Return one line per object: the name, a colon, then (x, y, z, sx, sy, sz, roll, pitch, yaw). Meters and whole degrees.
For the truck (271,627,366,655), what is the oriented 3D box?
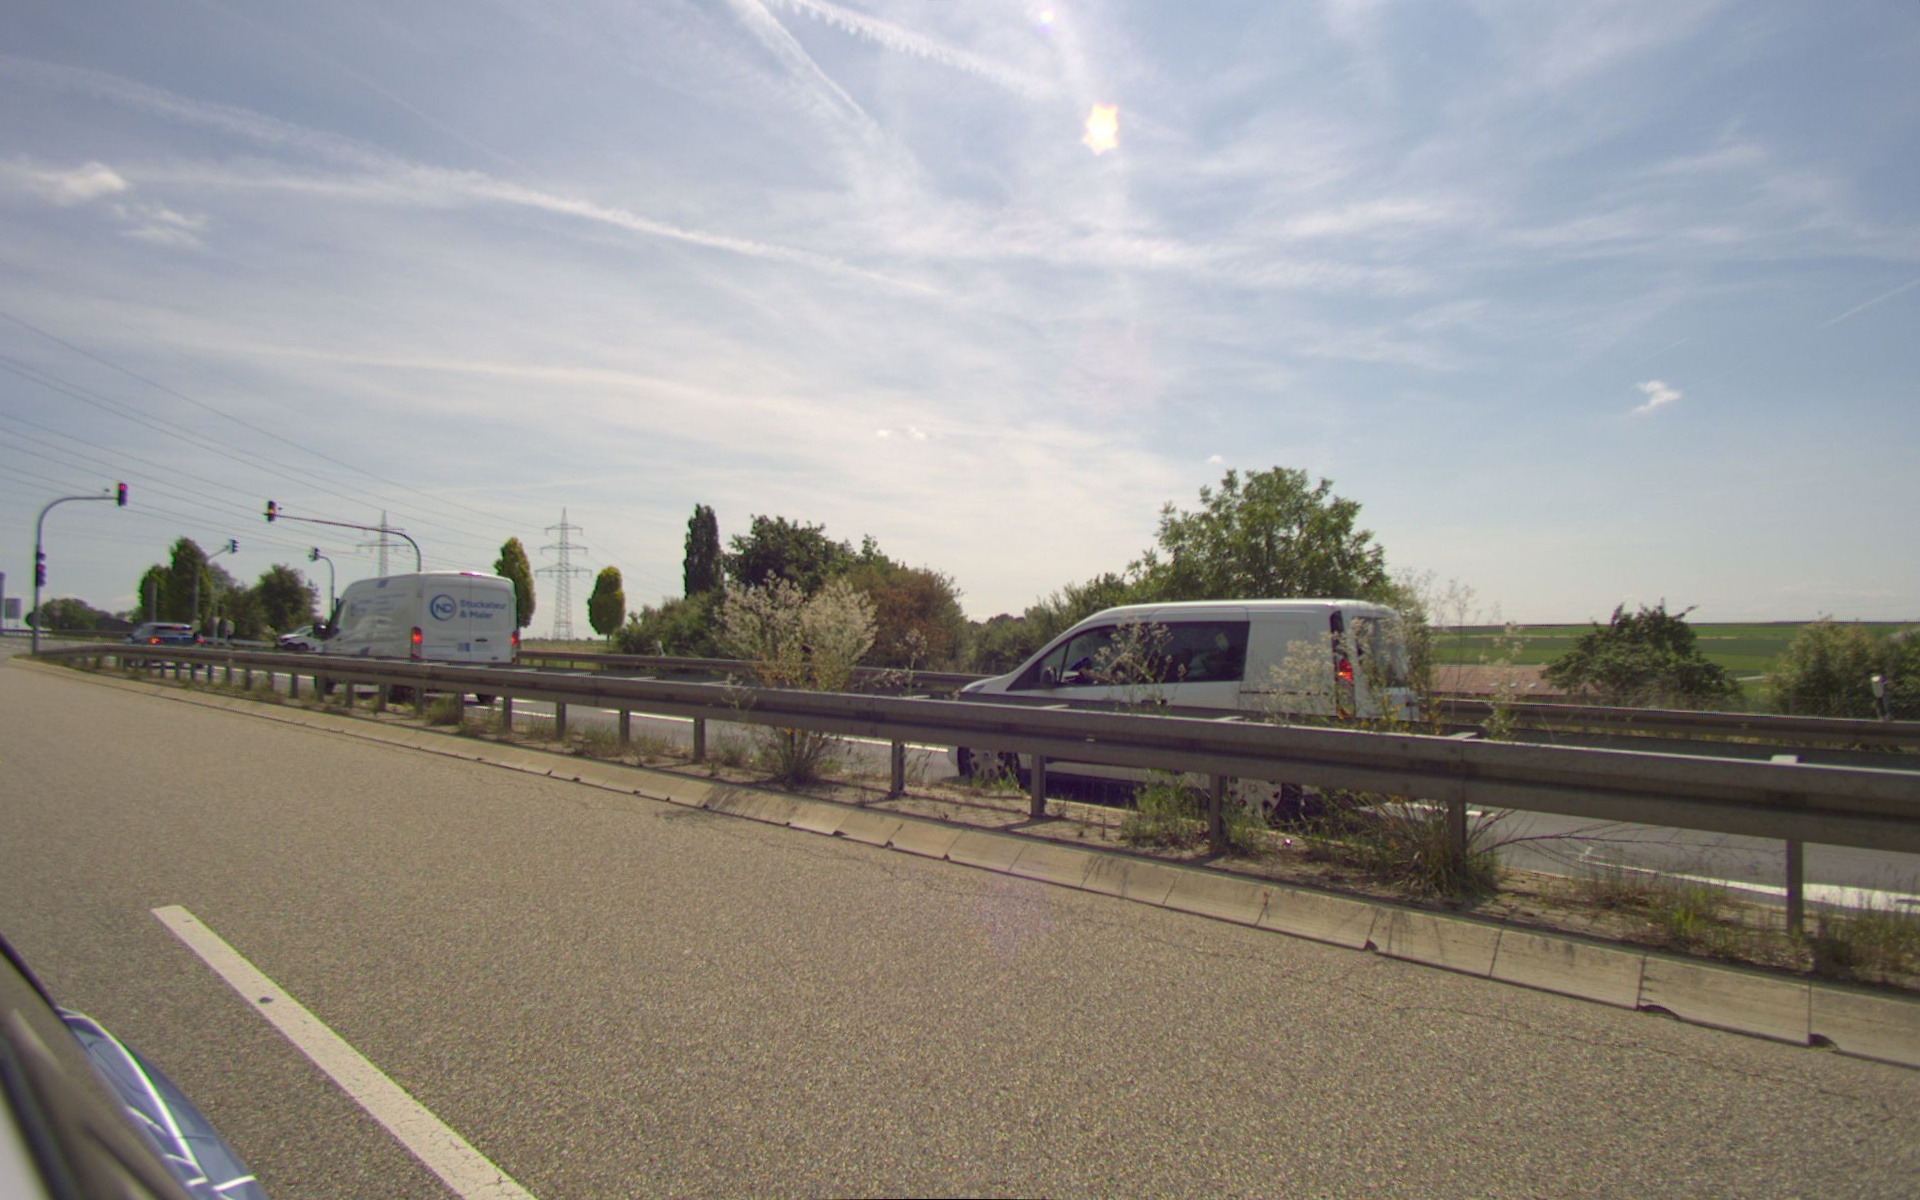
truck: (-44.597, 2.862, 70.526, 1.992, 1.770, 5.228, 0, -4, 30)

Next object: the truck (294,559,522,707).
truck: (-11.486, 0.697, 20.828, 6.016, 2.641, 2.019, -1, -5, 41)

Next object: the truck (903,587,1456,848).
truck: (1.753, 0.858, 9.100, 4.537, 1.762, 1.829, 0, -4, 43)

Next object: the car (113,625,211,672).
car: (-27.021, 1.598, 34.236, 4.191, 1.480, 1.738, -1, -2, 39)
